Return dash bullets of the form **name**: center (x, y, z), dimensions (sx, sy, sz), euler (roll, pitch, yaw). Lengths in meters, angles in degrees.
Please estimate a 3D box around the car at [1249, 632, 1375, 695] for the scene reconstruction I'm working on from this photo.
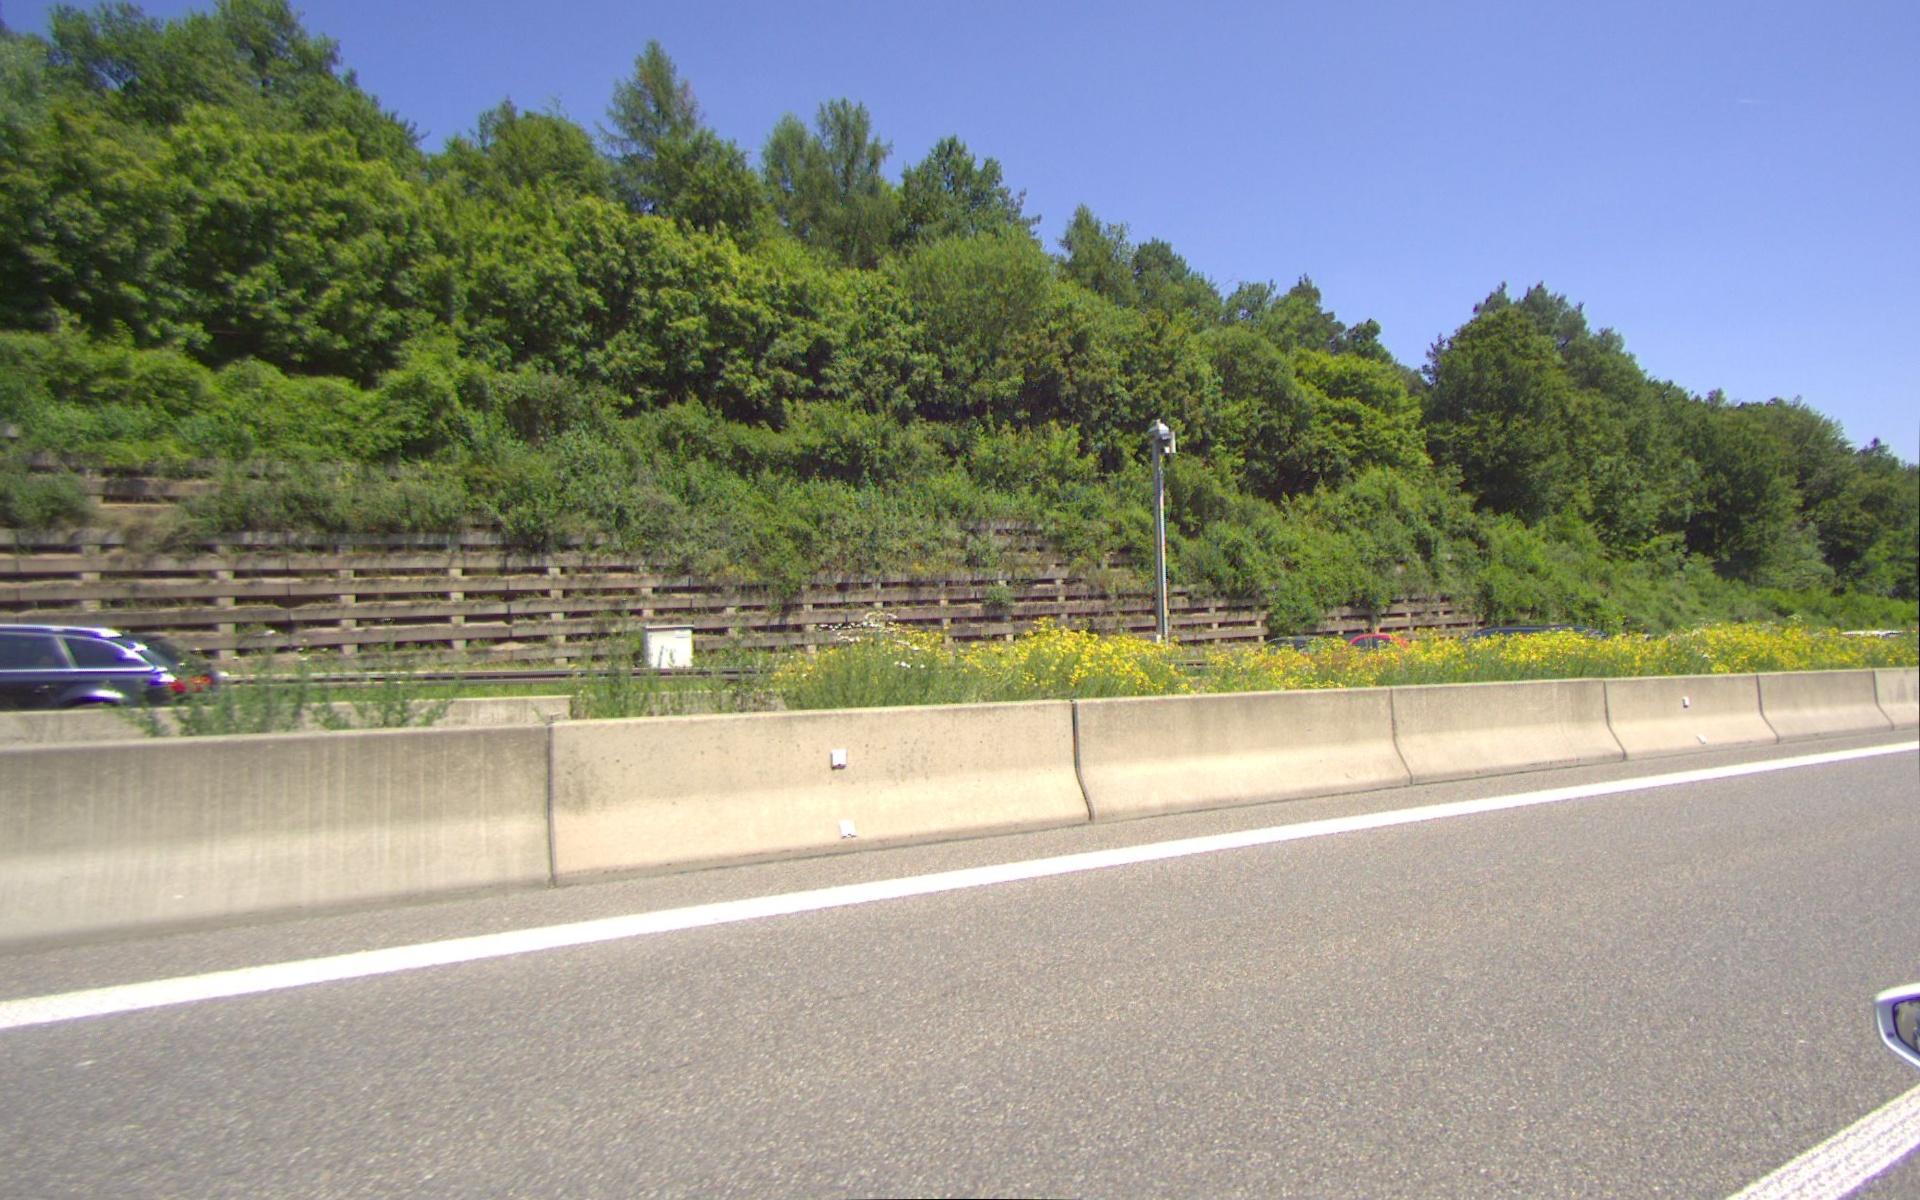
- **car**: center (9.122, 1.595, 26.006), dimensions (3.117, 1.542, 1.432), euler (1, -2, -31)

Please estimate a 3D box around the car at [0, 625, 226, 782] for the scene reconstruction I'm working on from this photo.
- **car**: center (-10.297, 1.032, 10.410), dimensions (4.155, 1.542, 1.779), euler (1, -2, -31)

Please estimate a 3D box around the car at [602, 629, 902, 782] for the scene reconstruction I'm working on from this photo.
- **car**: center (-2.374, 1.106, 11.606), dimensions (3.117, 1.542, 1.432), euler (1, -2, -31)

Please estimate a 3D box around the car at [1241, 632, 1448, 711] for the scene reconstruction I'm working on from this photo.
- **car**: center (8.328, 1.466, 21.670), dimensions (4.533, 1.542, 1.779), euler (1, -2, -31)

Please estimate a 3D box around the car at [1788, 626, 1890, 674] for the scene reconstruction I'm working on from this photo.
- **car**: center (37.086, 2.110, 42.372), dimensions (4.446, 1.832, 1.802), euler (2, 1, -29)
